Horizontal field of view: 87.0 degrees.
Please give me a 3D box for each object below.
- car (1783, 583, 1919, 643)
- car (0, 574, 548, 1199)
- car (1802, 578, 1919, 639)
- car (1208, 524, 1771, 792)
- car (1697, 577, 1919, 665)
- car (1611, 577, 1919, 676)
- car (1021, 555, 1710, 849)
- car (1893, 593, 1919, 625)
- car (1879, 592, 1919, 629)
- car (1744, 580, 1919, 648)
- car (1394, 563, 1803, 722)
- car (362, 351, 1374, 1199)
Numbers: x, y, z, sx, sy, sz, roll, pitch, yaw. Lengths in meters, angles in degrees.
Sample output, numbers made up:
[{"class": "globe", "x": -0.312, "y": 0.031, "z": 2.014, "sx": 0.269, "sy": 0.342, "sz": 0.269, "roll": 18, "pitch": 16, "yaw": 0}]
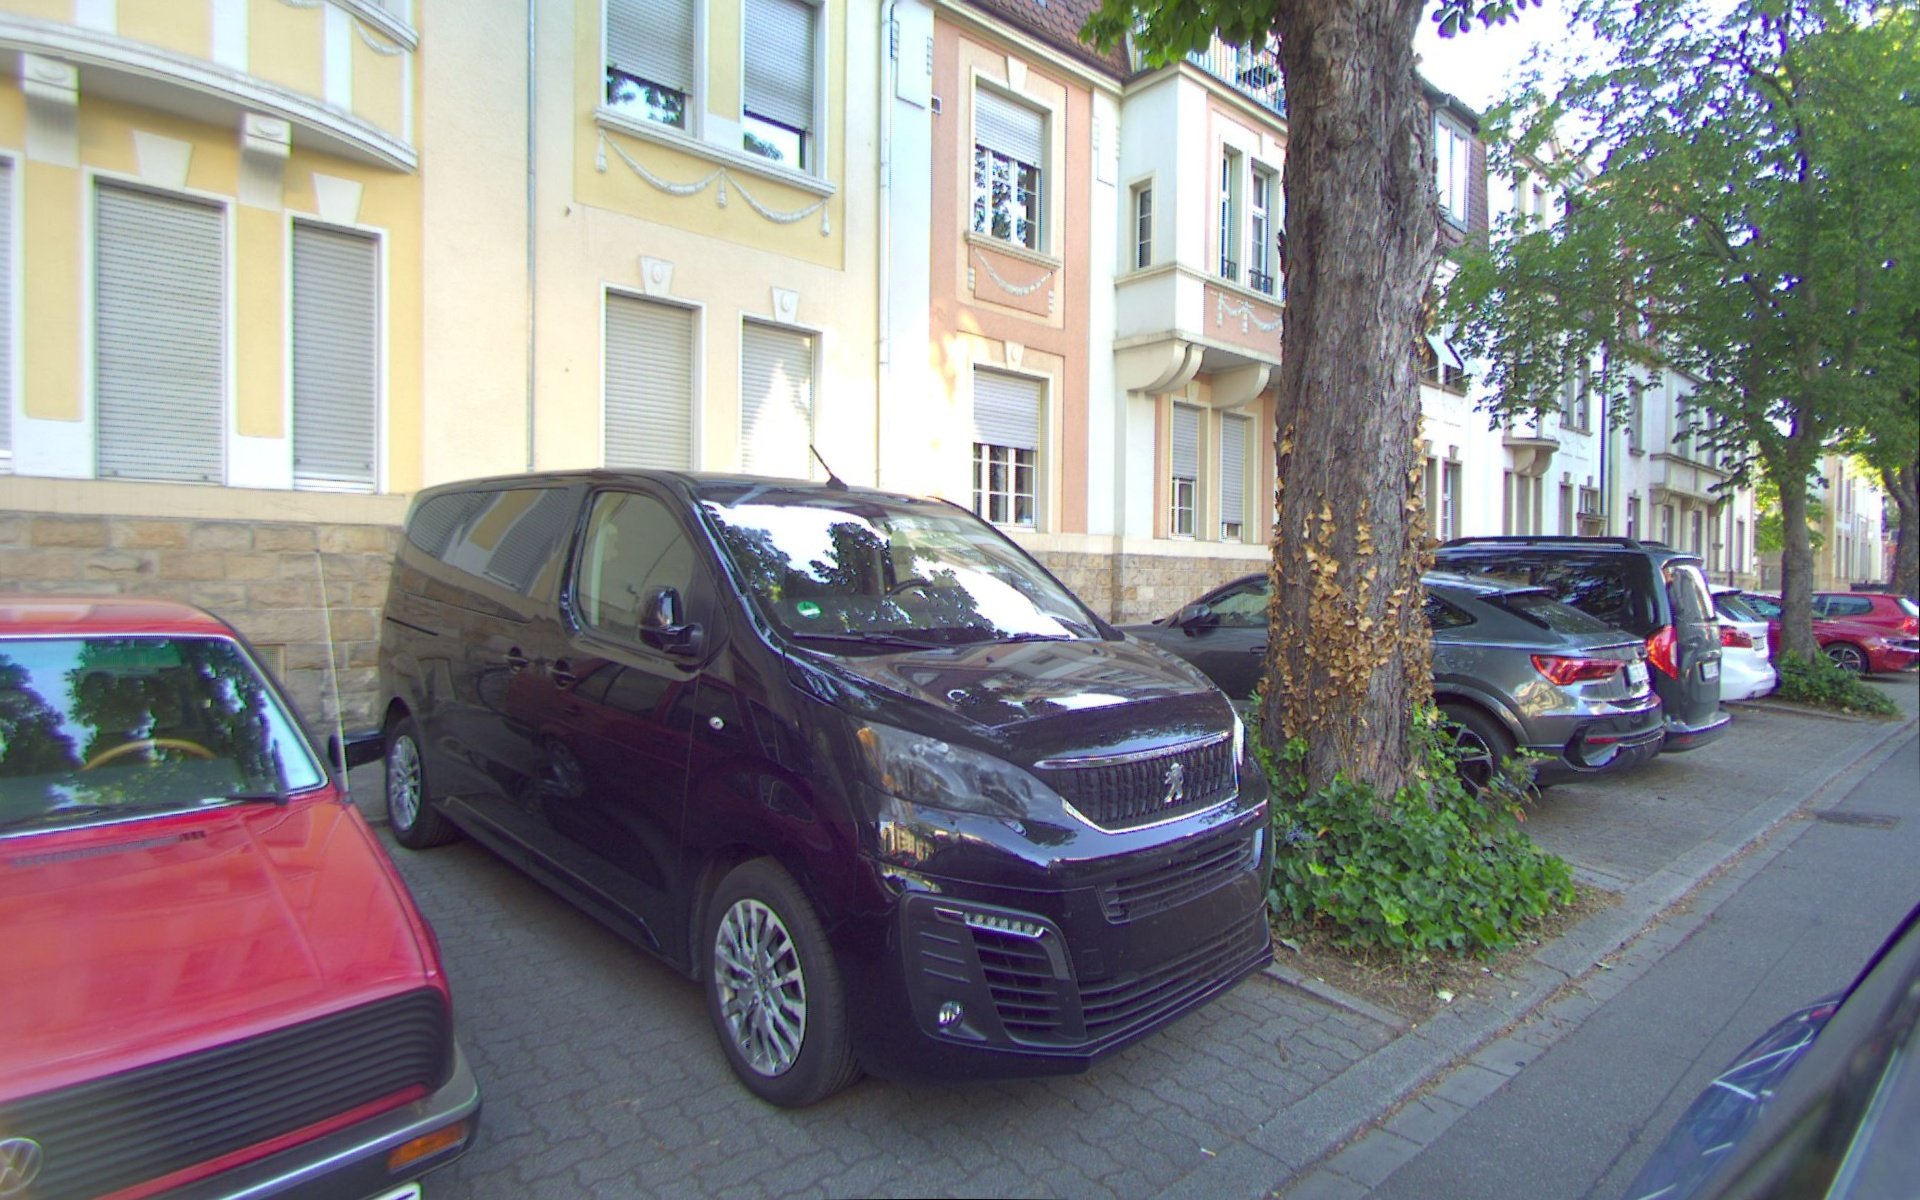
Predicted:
[{"class": "car", "x": 24.006, "y": 0.316, "z": 26.404, "sx": 1.548, "sy": 1.416, "sz": 3.681, "roll": 0, "pitch": 3, "yaw": -39}, {"class": "car", "x": -2.872, "y": 0.632, "z": 3.027, "sx": 1.603, "sy": 1.332, "sz": 4.139, "roll": -1, "pitch": 3, "yaw": -44}, {"class": "car", "x": 25.872, "y": 0.228, "z": 28.025, "sx": 1.548, "sy": 1.576, "sz": 3.681, "roll": 0, "pitch": 2, "yaw": -39}, {"class": "car", "x": 4.520, "y": 0.309, "z": 9.138, "sx": 1.814, "sy": 1.860, "sz": 4.116, "roll": -1, "pitch": 3, "yaw": -42}, {"class": "car", "x": 16.897, "y": 0.352, "z": 19.811, "sx": 1.628, "sy": 1.499, "sz": 3.682, "roll": 0, "pitch": 2, "yaw": -38}, {"class": "car", "x": 14.787, "y": 0.382, "z": 18.455, "sx": 1.833, "sy": 1.470, "sz": 4.533, "roll": 0, "pitch": 3, "yaw": -38}, {"class": "car", "x": 2.746, "y": 0.467, "z": 7.694, "sx": 1.815, "sy": 1.542, "sz": 4.513, "roll": -1, "pitch": 3, "yaw": -44}, {"class": "car", "x": 34.277, "y": 0.373, "z": 34.523, "sx": 1.515, "sy": 1.076, "sz": 3.399, "roll": 0, "pitch": 3, "yaw": -39}, {"class": "car", "x": 31.897, "y": 0.374, "z": 32.460, "sx": 1.515, "sy": 1.164, "sz": 3.399, "roll": 0, "pitch": 3, "yaw": -39}, {"class": "car", "x": 21.854, "y": 0.295, "z": 24.966, "sx": 1.548, "sy": 1.484, "sz": 3.681, "roll": 0, "pitch": 3, "yaw": -39}, {"class": "car", "x": 7.704, "y": 0.377, "z": 12.517, "sx": 1.689, "sy": 1.597, "sz": 3.948, "roll": 0, "pitch": 3, "yaw": -41}, {"class": "car", "x": -0.937, "y": 0.328, "z": 4.467, "sx": 1.867, "sy": 1.897, "sz": 4.753, "roll": -1, "pitch": 3, "yaw": -44}]
